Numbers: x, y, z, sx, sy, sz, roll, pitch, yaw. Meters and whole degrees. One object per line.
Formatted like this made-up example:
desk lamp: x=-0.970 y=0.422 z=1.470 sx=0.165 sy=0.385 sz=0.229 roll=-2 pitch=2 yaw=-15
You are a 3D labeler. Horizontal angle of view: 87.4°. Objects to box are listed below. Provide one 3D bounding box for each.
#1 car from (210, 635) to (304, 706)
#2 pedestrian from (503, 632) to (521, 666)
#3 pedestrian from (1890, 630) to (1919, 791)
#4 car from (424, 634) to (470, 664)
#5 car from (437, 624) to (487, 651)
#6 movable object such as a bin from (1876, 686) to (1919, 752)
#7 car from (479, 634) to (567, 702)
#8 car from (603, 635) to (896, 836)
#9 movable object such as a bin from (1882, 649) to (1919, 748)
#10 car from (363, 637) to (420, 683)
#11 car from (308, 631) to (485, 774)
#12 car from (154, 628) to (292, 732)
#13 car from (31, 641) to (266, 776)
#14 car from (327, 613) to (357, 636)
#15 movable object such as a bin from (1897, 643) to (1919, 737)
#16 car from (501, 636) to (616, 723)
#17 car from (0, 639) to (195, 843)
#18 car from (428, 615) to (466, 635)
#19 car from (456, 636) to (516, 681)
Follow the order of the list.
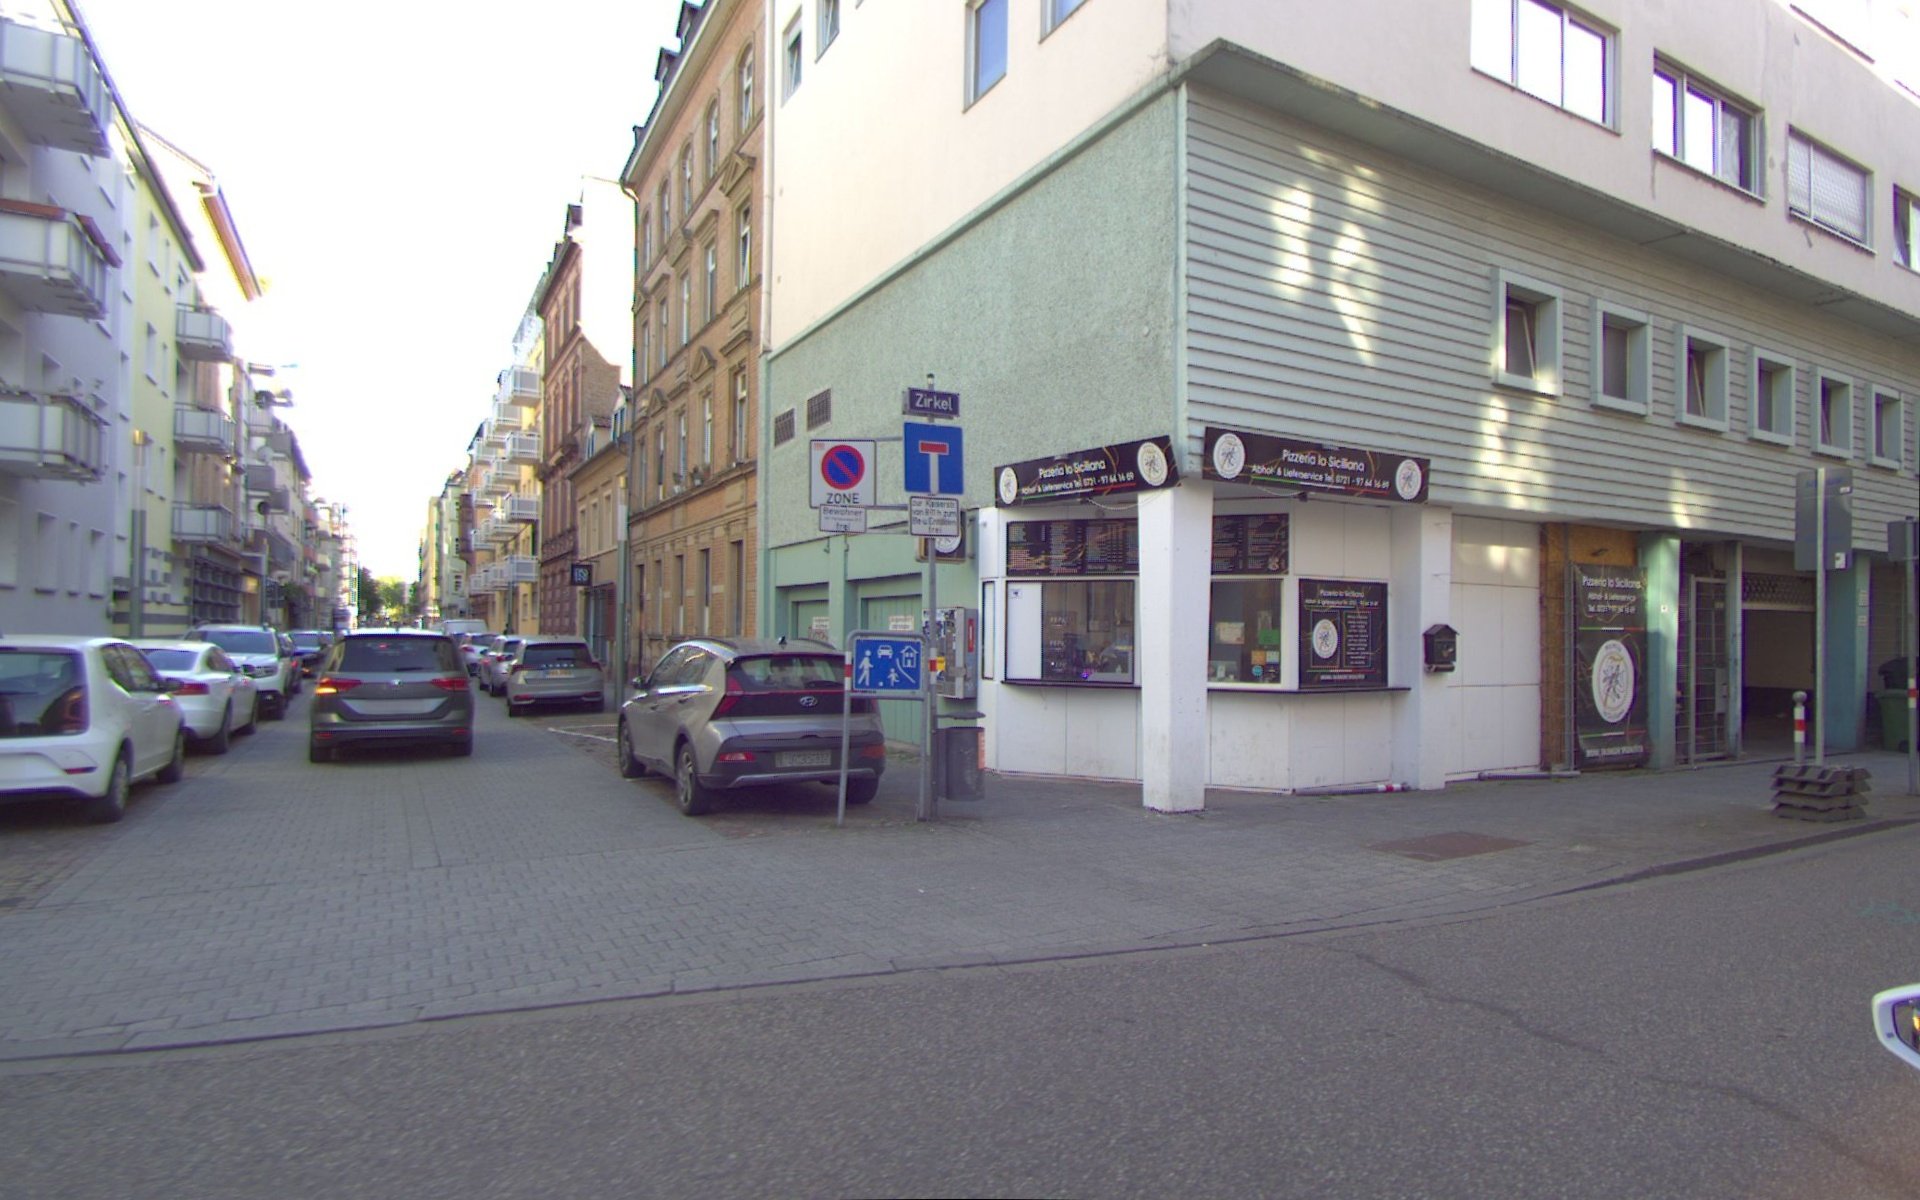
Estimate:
car: x=-15.666 y=1.518 z=22.494 sx=1.469 sy=1.408 sz=3.377 roll=0 pitch=-1 yaw=-31
pedestrian: x=-21.564 y=2.352 z=48.337 sx=0.683 sy=1.602 sz=0.630 roll=1 pitch=1 yaw=-33
pedestrian: x=10.516 y=1.186 z=10.746 sx=0.615 sy=1.692 sz=0.494 roll=2 pitch=1 yaw=14
car: x=-22.356 y=2.099 z=43.763 sx=1.455 sy=1.202 sz=3.055 roll=0 pitch=-1 yaw=-34
car: x=-23.755 y=1.766 z=47.903 sx=1.768 sy=1.202 sz=3.055 roll=0 pitch=-1 yaw=-34
movable object such as a bin: x=14.458 y=1.821 z=15.463 sx=0.461 sy=0.954 sz=0.391 roll=1 pitch=-2 yaw=-29
car: x=-11.003 y=1.636 z=25.142 sx=1.764 sy=1.501 sz=3.886 roll=0 pitch=-1 yaw=-27
car: x=-2.257 y=1.130 z=9.934 sx=1.673 sy=1.540 sz=3.913 roll=2 pitch=-2 yaw=-30
movable object such as a bin: x=15.438 y=1.535 z=15.799 sx=1.457 sy=1.491 sz=0.964 roll=0 pitch=-1 yaw=-30
car: x=-19.152 y=1.985 z=33.932 sx=1.566 sy=1.400 sz=3.872 roll=1 pitch=-2 yaw=-29
car: x=-7.544 y=1.219 z=13.467 sx=1.766 sy=1.589 sz=4.137 roll=1 pitch=-2 yaw=-30
car: x=-13.264 y=1.349 z=18.285 sx=1.740 sy=1.632 sz=4.111 roll=0 pitch=-1 yaw=-32
car: x=-10.411 y=1.276 z=13.218 sx=1.739 sy=1.416 sz=4.294 roll=2 pitch=-2 yaw=-30
car: x=-42.868 y=1.722 z=69.742 sx=1.566 sy=1.527 sz=3.872 roll=1 pitch=-2 yaw=-29
movable object such as a bin: x=16.662 y=1.501 z=16.776 sx=1.326 sy=1.540 sz=1.117 roll=0 pitch=-1 yaw=-29
car: x=-8.126 y=1.497 z=20.135 sx=1.764 sy=1.501 sz=3.886 roll=0 pitch=-1 yaw=-27
car: x=-7.990 y=1.086 z=8.727 sx=1.705 sy=1.456 sz=3.317 roll=2 pitch=-2 yaw=-31
car: x=-31.937 y=1.531 z=62.557 sx=1.768 sy=1.202 sz=3.055 roll=0 pitch=-1 yaw=-34
car: x=-16.519 y=1.981 z=34.939 sx=1.764 sy=1.426 sz=3.461 roll=0 pitch=-1 yaw=-28
